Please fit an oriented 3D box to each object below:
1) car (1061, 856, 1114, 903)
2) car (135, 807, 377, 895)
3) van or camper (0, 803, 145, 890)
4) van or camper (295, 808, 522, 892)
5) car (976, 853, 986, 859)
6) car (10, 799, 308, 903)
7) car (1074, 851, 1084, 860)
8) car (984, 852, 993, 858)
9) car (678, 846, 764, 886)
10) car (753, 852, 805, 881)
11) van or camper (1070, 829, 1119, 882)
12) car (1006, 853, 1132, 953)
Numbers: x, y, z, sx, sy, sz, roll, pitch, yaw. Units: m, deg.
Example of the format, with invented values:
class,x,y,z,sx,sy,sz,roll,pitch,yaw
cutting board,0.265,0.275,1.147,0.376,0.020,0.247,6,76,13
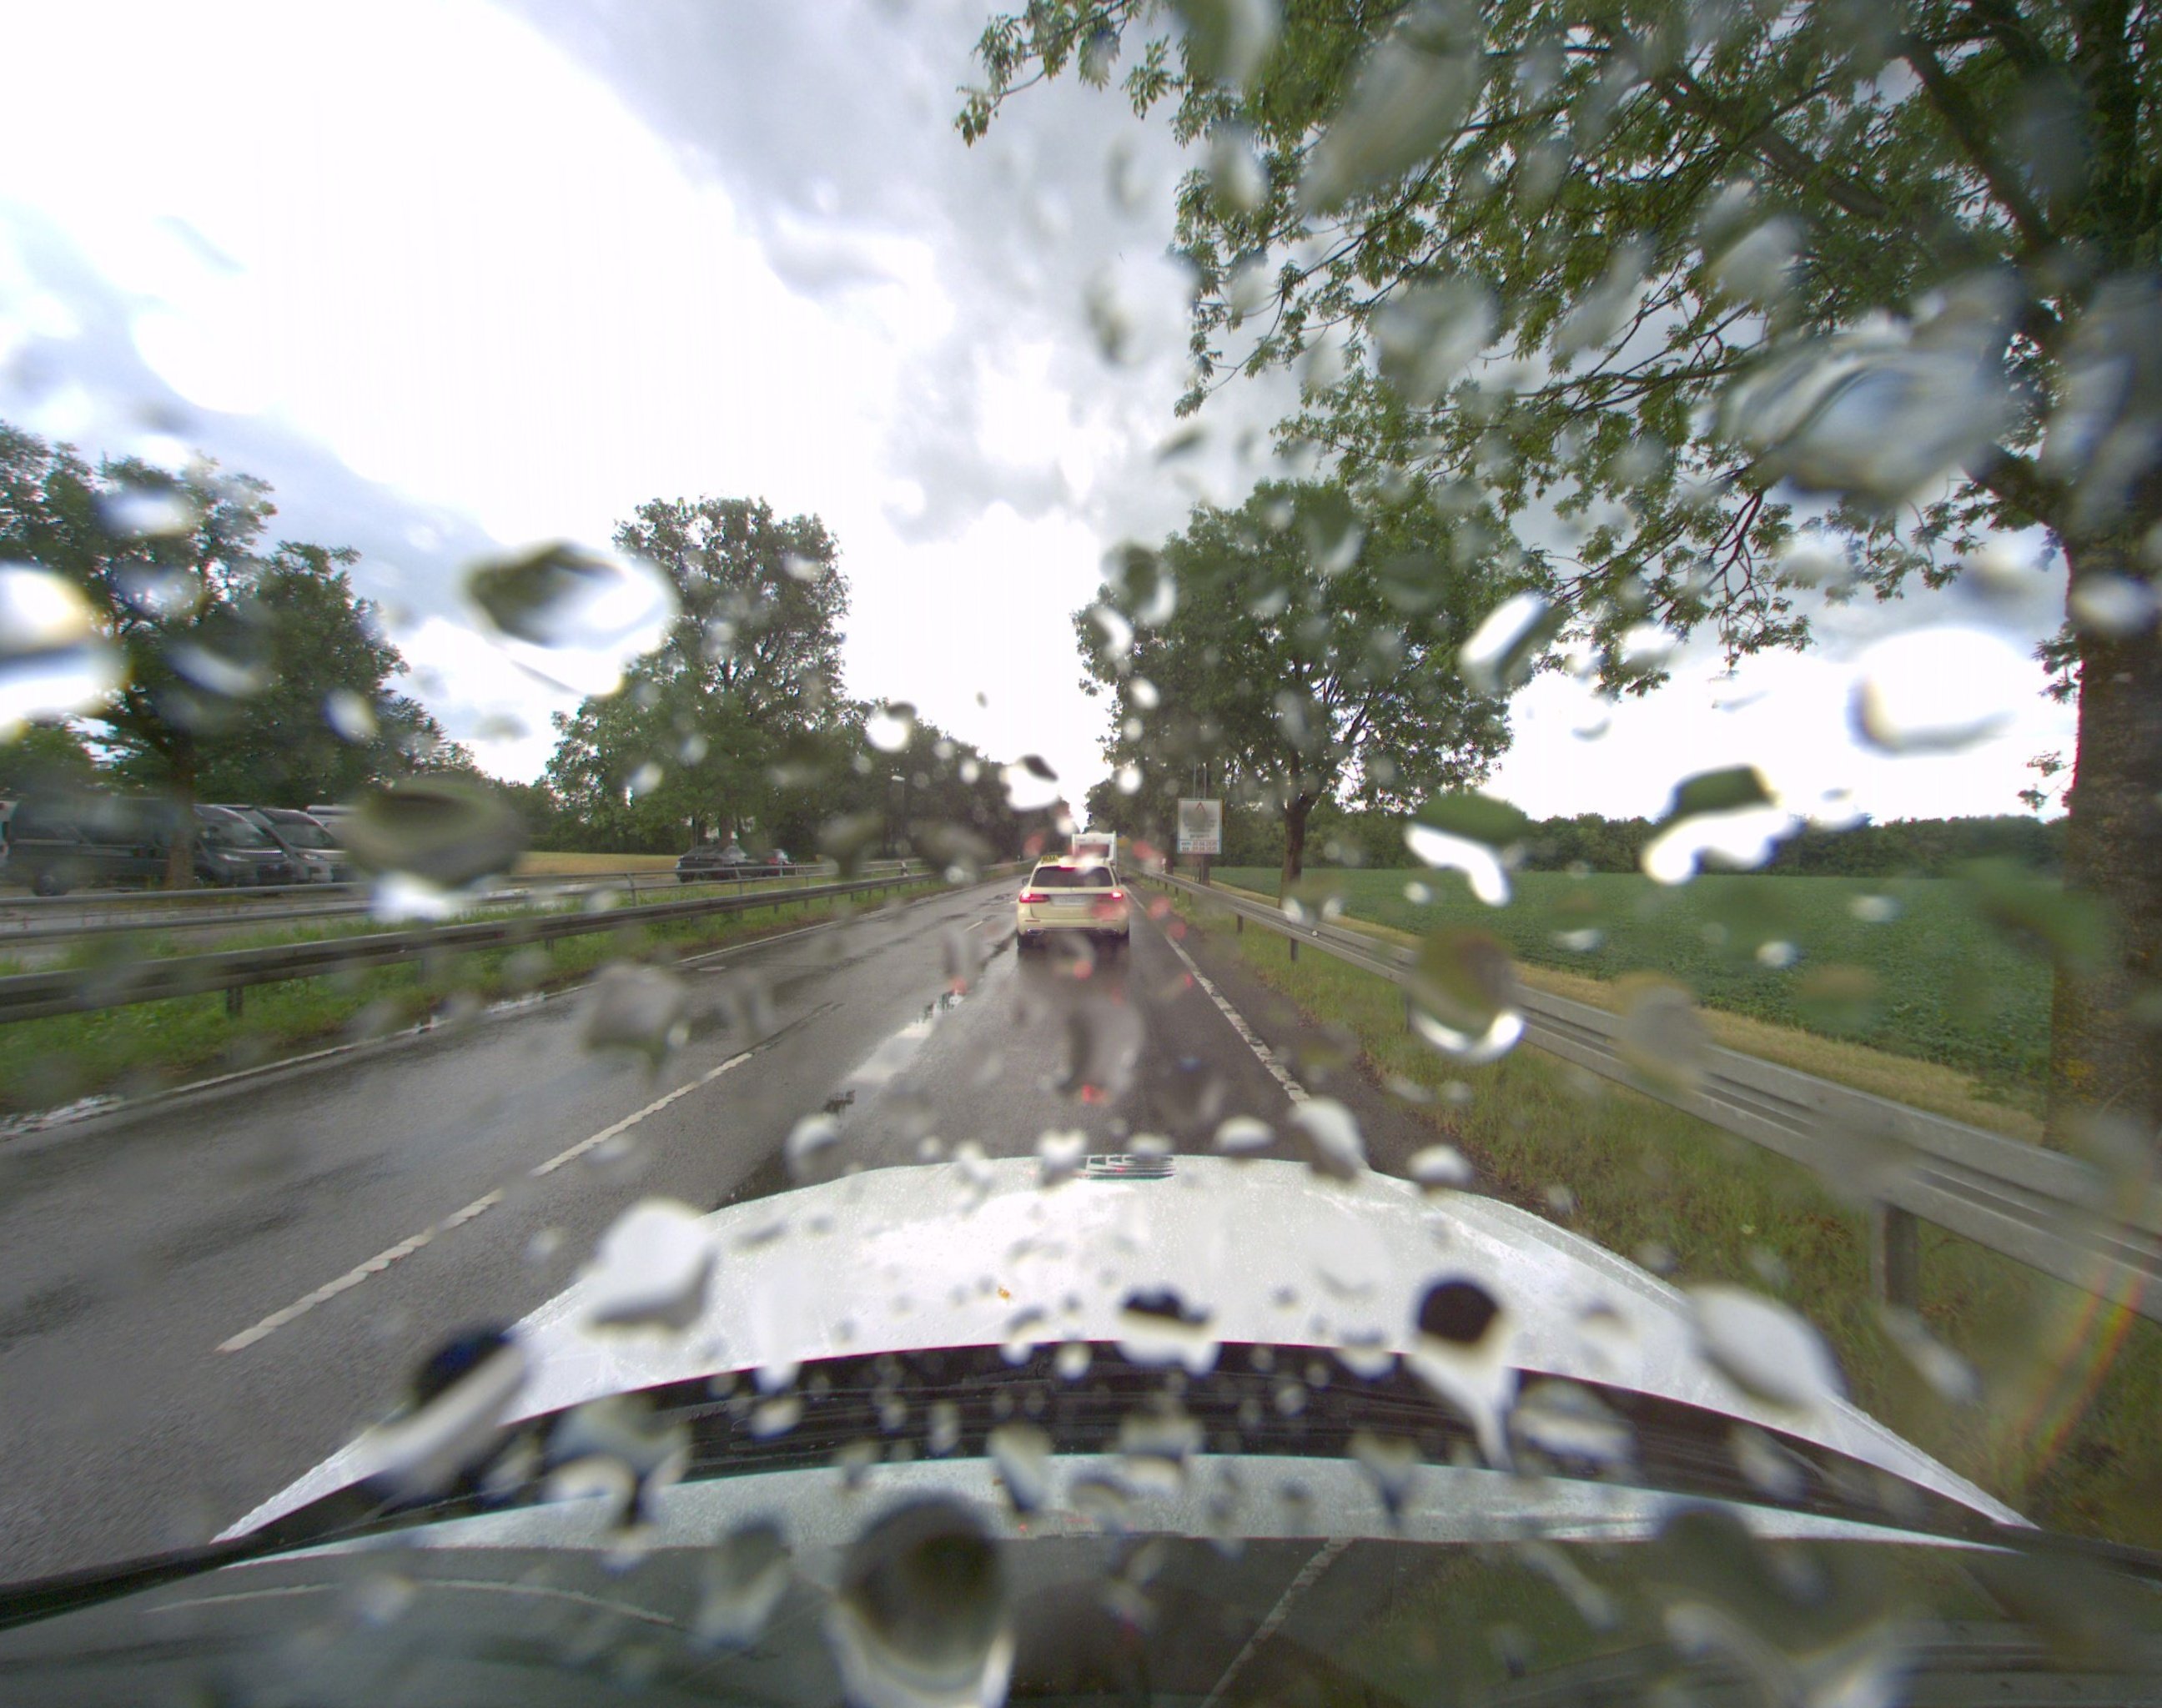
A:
class,x,y,z,sx,sy,sz,roll,pitch,yaw
car,0.280,0.791,27.439,1.657,1.430,4.002,-1,0,2
car,-24.766,-0.097,24.613,5.078,2.459,1.999,1,0,-2
van or camper,-33.336,-0.253,25.242,5.796,2.590,1.996,1,0,-6
van or camper,-23.148,-0.126,28.240,5.864,2.677,2.078,1,0,-5
car,-22.928,0.505,186.603,1.778,1.416,4.002,1,0,2
car,-23.932,-0.074,21.330,5.173,2.501,1.997,1,0,-5
car,-0.401,0.327,153.740,1.758,1.619,4.000,-1,0,0
car,-22.611,0.331,199.958,1.780,1.416,3.999,1,0,-1
car,-14.705,0.445,33.601,1.512,1.491,5.116,1,0,-3
car,-14.775,0.580,40.048,1.280,1.331,3.894,0,0,-3
van or camper,0.787,0.067,43.620,2.480,2.685,5.703,0,0,2
car,-0.105,0.734,14.239,1.857,1.476,4.002,-1,0,2
